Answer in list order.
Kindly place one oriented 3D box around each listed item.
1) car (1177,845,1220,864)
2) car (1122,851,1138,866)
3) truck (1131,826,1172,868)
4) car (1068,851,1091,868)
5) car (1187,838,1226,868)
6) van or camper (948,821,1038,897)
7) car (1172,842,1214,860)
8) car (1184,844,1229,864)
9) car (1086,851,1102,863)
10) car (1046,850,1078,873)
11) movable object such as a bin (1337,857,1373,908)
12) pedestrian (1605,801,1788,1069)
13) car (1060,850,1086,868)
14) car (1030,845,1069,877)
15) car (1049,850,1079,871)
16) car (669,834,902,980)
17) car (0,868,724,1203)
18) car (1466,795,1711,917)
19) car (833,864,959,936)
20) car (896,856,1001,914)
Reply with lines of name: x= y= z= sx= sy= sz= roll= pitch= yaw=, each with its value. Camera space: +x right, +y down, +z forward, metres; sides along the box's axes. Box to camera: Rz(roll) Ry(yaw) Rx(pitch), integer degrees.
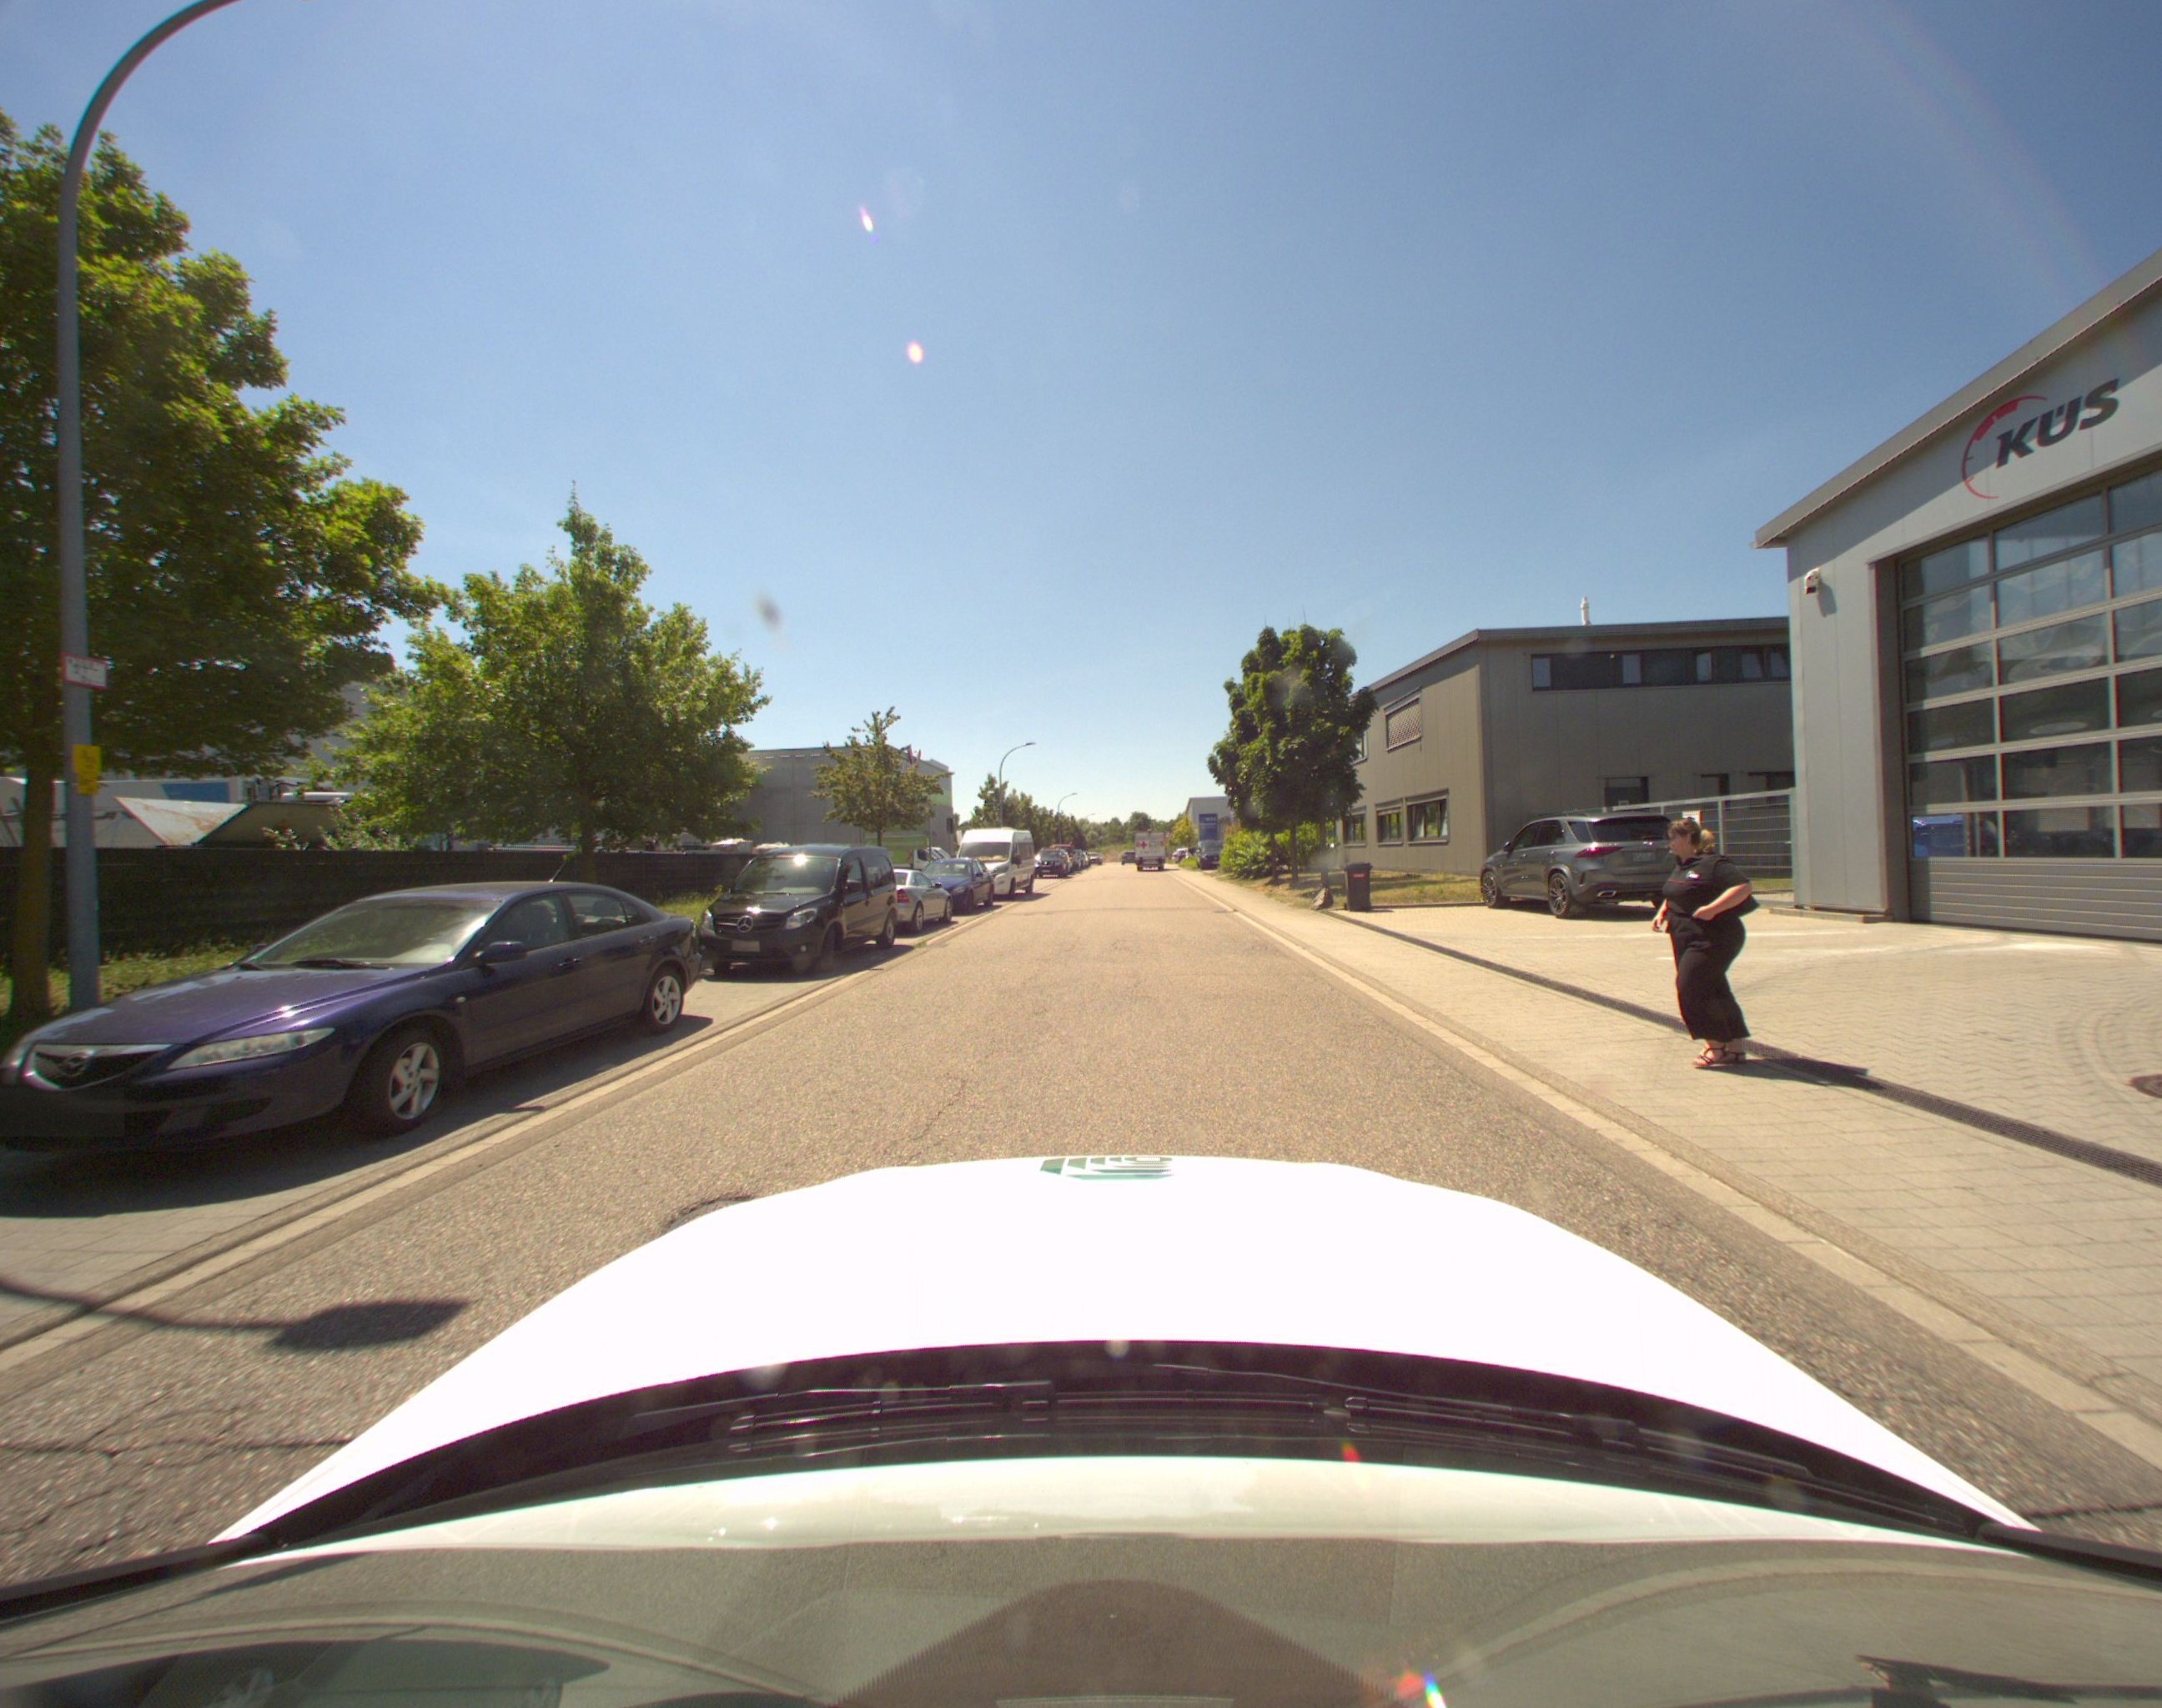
car: x=10.923 y=0.019 z=75.939 sx=3.862 sy=1.750 sz=1.752 roll=0 pitch=0 yaw=1
car: x=5.586 y=0.479 z=92.639 sx=1.782 sy=1.623 sz=3.812 roll=0 pitch=0 yaw=3
truck: x=5.217 y=-0.470 z=60.957 sx=2.920 sy=2.974 sz=6.425 roll=0 pitch=0 yaw=4
car: x=-0.097 y=0.519 z=78.268 sx=1.790 sy=1.487 sz=4.258 roll=-1 pitch=1 yaw=5
car: x=8.351 y=-0.049 z=54.334 sx=1.986 sy=1.803 sz=4.141 roll=-2 pitch=0 yaw=1
van or camper: x=-3.057 y=0.174 z=29.804 sx=2.068 sy=2.483 sz=6.140 roll=0 pitch=0 yaw=6
car: x=10.751 y=-0.278 z=78.601 sx=3.862 sy=1.750 sz=1.752 roll=0 pitch=0 yaw=1
car: x=11.308 y=-0.029 z=73.640 sx=3.862 sy=1.750 sz=1.752 roll=0 pitch=0 yaw=1
car: x=1.689 y=0.430 z=107.337 sx=1.790 sy=1.487 sz=4.258 roll=-1 pitch=1 yaw=5
car: x=-1.298 y=0.486 z=57.552 sx=1.790 sy=1.487 sz=4.258 roll=-1 pitch=1 yaw=5
movable object such as a bin: x=5.944 y=0.601 z=17.697 sx=0.529 sy=1.052 sz=0.846 roll=-2 pitch=0 yaw=5
pedestrian: x=4.048 y=0.500 z=5.407 sx=0.499 sy=1.613 sz=0.713 roll=-6 pitch=0 yaw=-4
car: x=-0.678 y=0.445 z=72.631 sx=1.790 sy=1.487 sz=4.258 roll=-1 pitch=1 yaw=5
car: x=-1.878 y=0.367 z=49.839 sx=1.790 sy=1.848 sz=4.258 roll=-1 pitch=0 yaw=5
car: x=-1.271 y=0.449 z=62.796 sx=1.790 sy=1.487 sz=4.258 roll=-1 pitch=1 yaw=5
car: x=-4.211 y=0.672 z=12.428 sx=1.792 sy=1.814 sz=4.255 roll=-1 pitch=0 yaw=3
car: x=-4.699 y=0.899 z=6.118 sx=1.792 sy=1.476 sz=4.591 roll=-1 pitch=0 yaw=3
car: x=9.011 y=0.061 z=15.059 sx=1.776 sy=1.783 sz=4.912 roll=-3 pitch=-1 yaw=6
car: x=-3.827 y=0.904 z=17.519 sx=1.471 sy=1.297 sz=3.905 roll=-1 pitch=0 yaw=5
car: x=-3.589 y=0.796 z=22.894 sx=1.790 sy=1.449 sz=4.260 roll=-1 pitch=0 yaw=6
